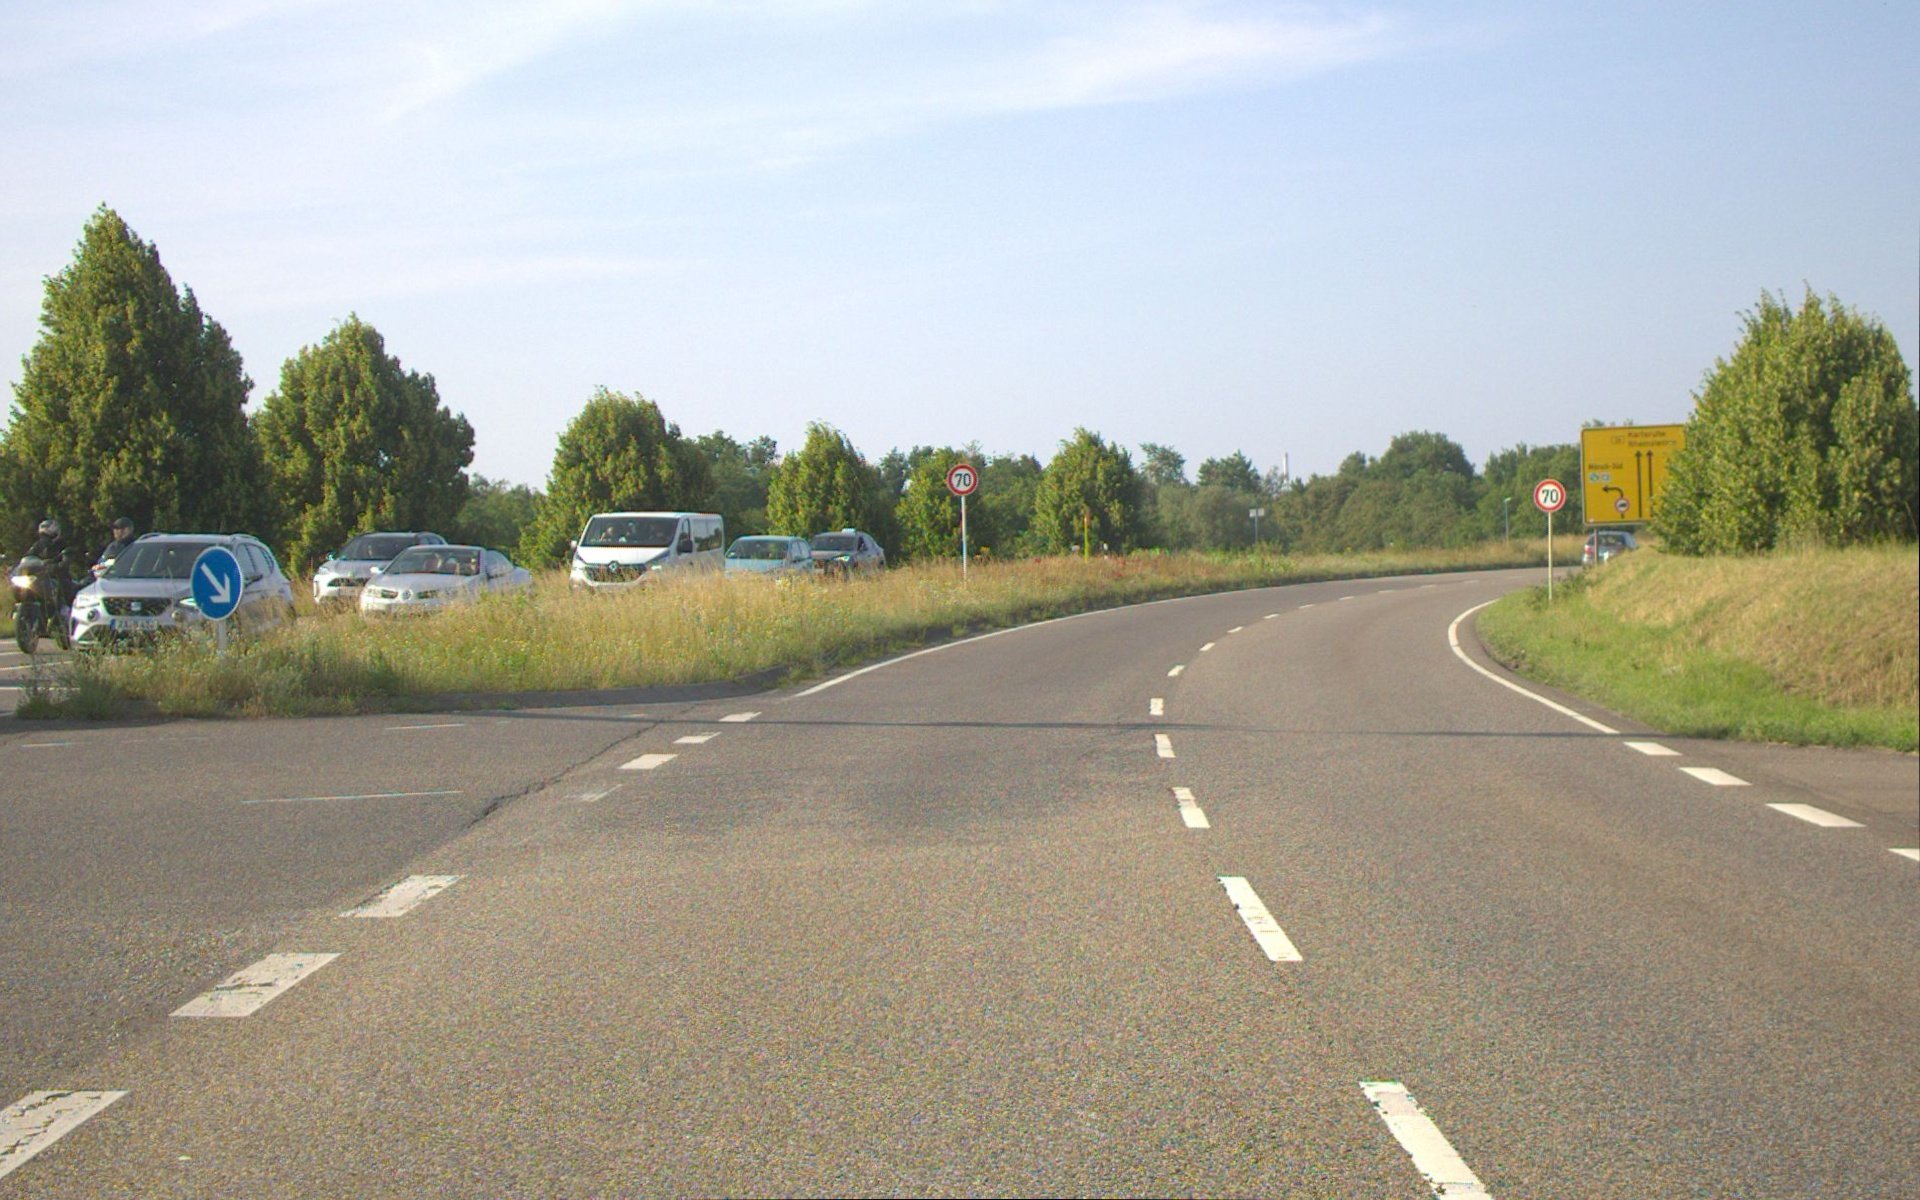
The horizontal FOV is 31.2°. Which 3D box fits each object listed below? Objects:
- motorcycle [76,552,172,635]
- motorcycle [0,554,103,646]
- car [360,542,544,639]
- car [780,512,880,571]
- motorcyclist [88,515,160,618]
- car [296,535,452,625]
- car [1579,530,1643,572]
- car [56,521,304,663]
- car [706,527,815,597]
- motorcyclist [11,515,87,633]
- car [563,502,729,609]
[{"bbox_3d":[-11.967,-0.102,49.261,0.708,1.154,2.023,0,1,6],"label":"motorcycle"},{"bbox_3d":[-11.691,-0.018,44.169,0.701,1.134,2.278,0,1,2],"label":"motorcycle"},{"bbox_3d":[-7.403,-0.177,50.471,1.694,1.348,4.452,0,1,5],"label":"car"},{"bbox_3d":[-3.516,-1.611,94.129,1.913,1.560,4.609,0,1,9],"label":"car"},{"bbox_3d":[-11.961,-0.489,49.196,0.704,1.460,1.020,0,1,6],"label":"motorcyclist"},{"bbox_3d":[-10.210,-0.383,60.168,1.706,1.520,4.134,0,1,5],"label":"car"},{"bbox_3d":[23.895,-1.801,126.154,1.743,1.515,3.828,0,1,20],"label":"car"},{"bbox_3d":[-8.724,-0.128,38.769,1.686,1.518,4.092,0,1,3],"label":"car"},{"bbox_3d":[-4.209,-0.818,72.971,1.679,1.438,3.751,0,1,7],"label":"car"},{"bbox_3d":[-11.697,-0.343,44.152,0.697,1.498,0.896,0,1,2],"label":"motorcyclist"},{"bbox_3d":[-5.765,-0.850,63.860,1.994,1.897,5.788,0,1,6],"label":"car"}]
